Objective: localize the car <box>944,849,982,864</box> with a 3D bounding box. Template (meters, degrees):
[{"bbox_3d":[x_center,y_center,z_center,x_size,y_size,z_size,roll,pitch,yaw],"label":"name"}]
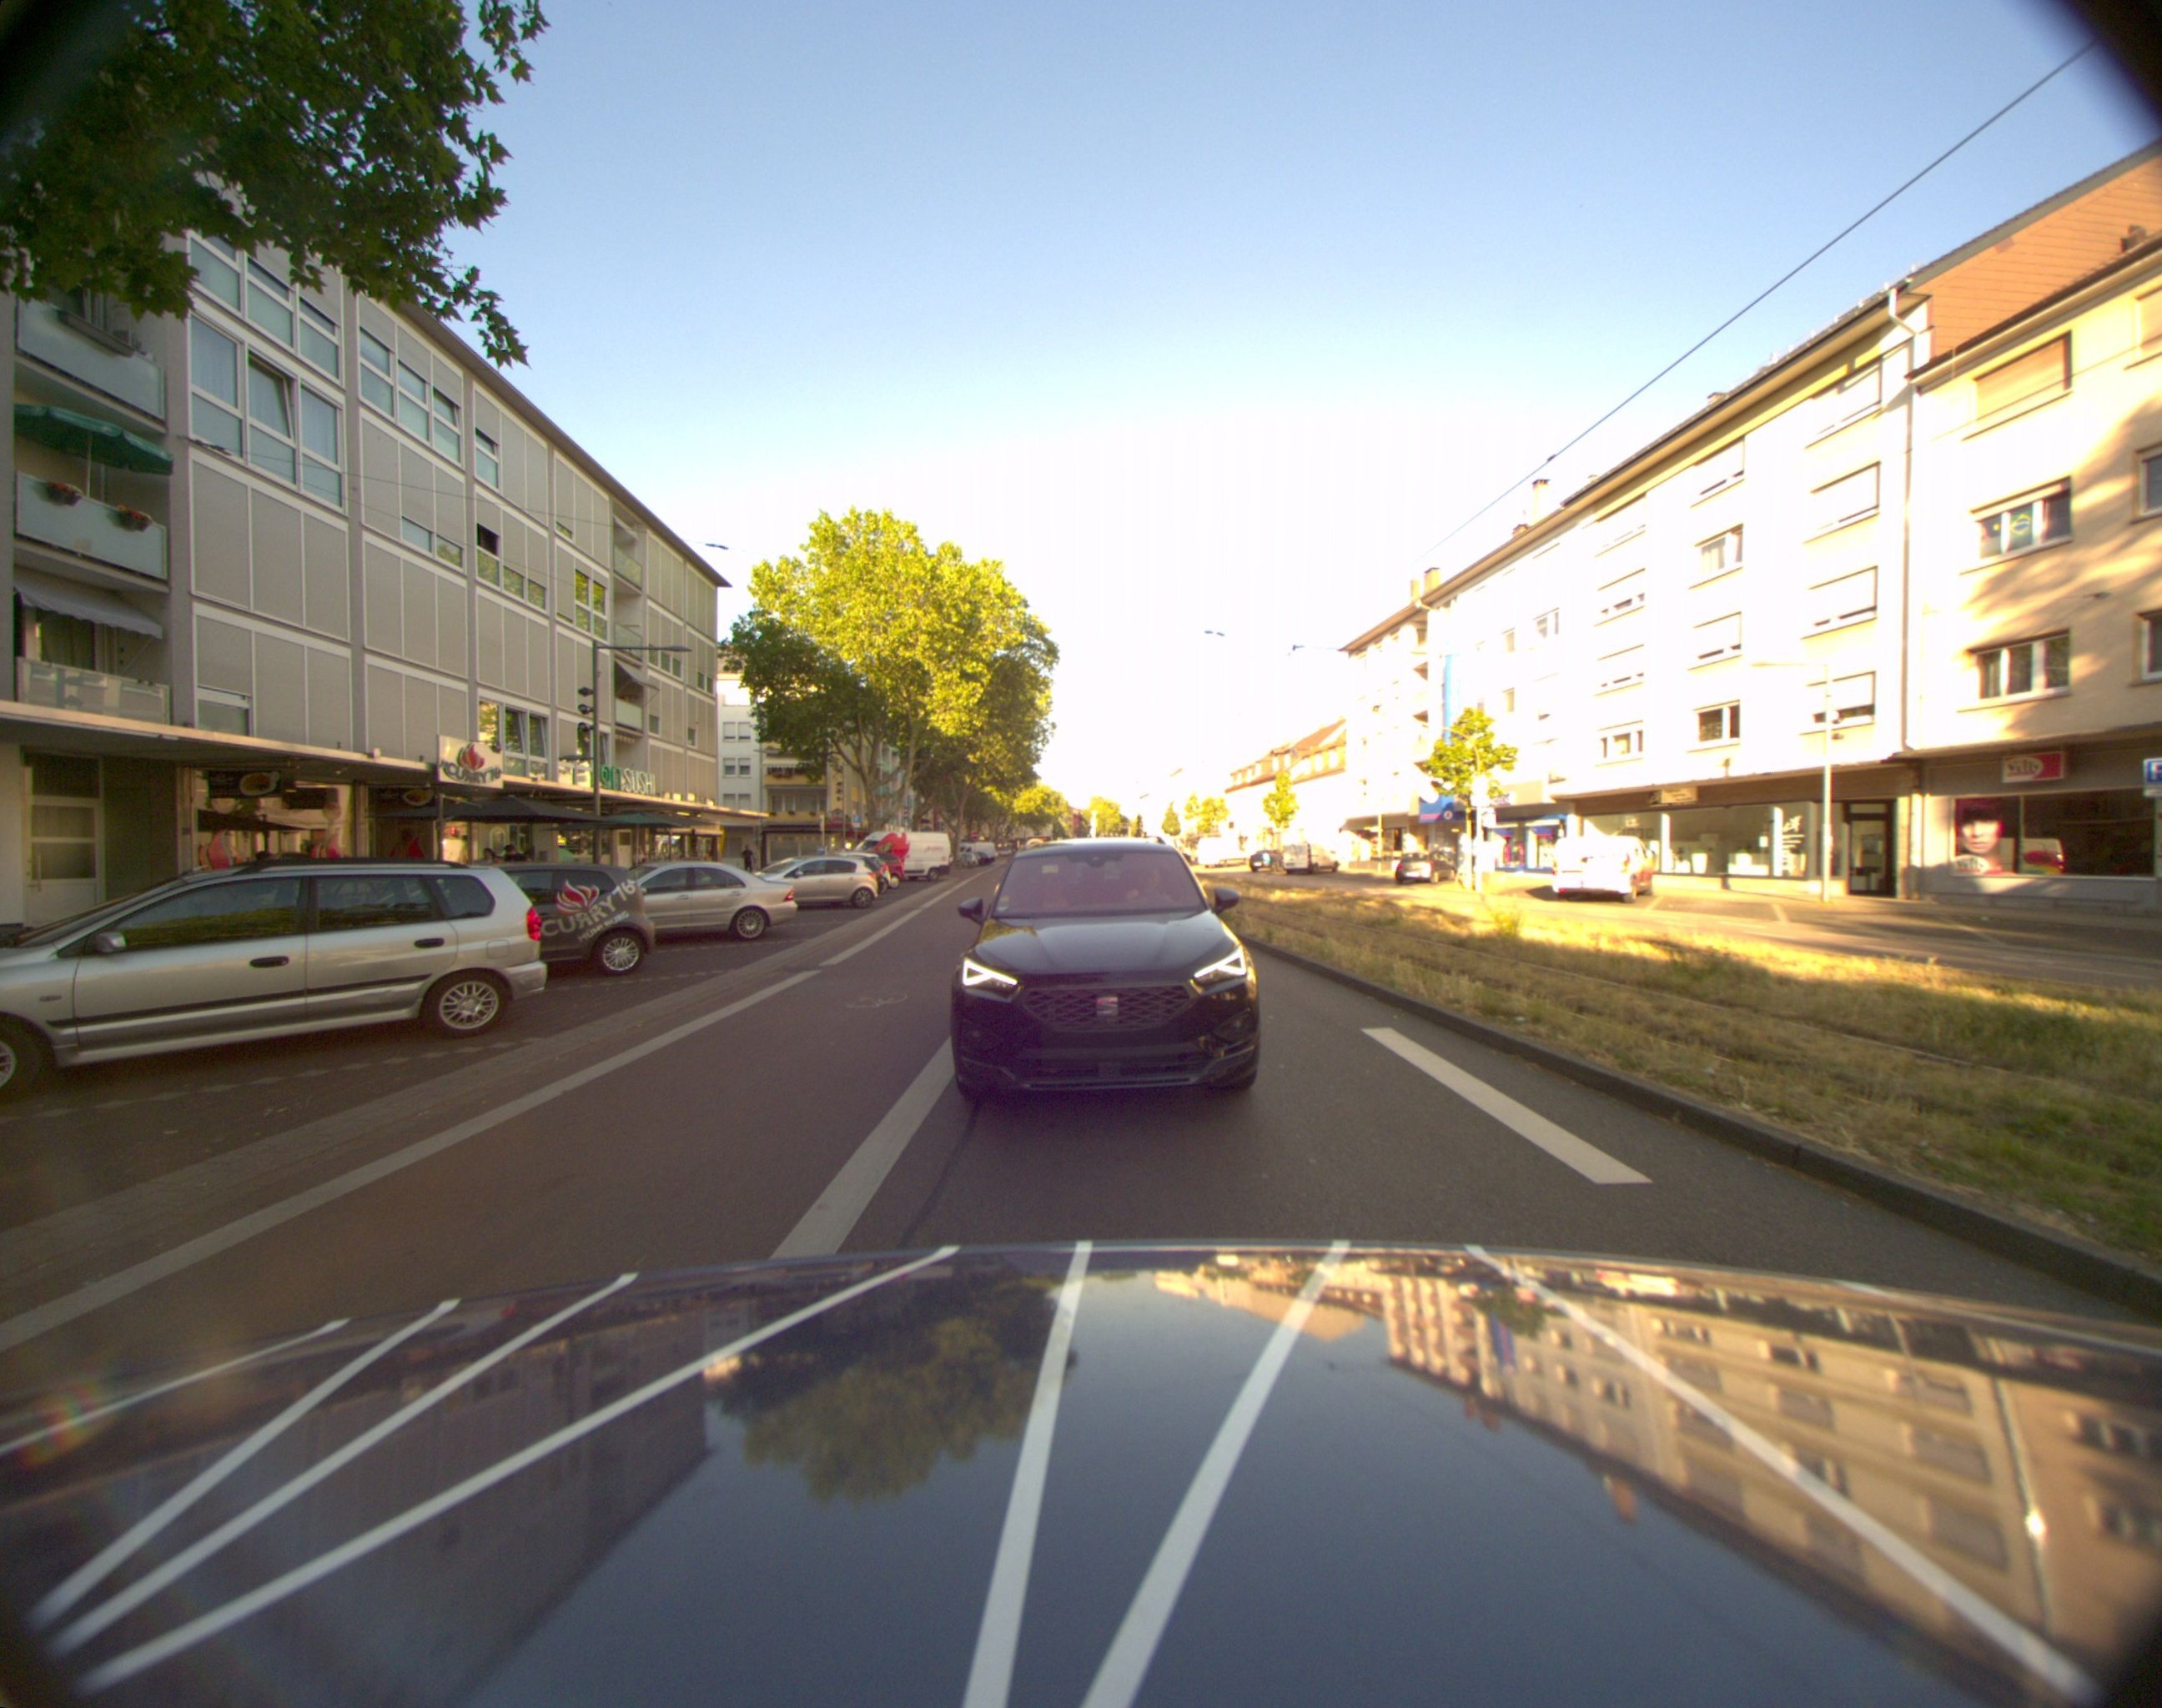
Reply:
[{"bbox_3d":[-11.483,0.252,74.018,3.337,1.339,1.526,0,2,-44],"label":"car"}]

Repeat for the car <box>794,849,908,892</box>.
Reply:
[{"bbox_3d":[-9.095,0.614,30.207,4.008,1.555,1.654,0,2,-44],"label":"car"}]

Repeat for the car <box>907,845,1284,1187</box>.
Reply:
[{"bbox_3d":[0.101,0.789,5.767,1.808,1.638,3.999,-2,1,1],"label":"car"}]

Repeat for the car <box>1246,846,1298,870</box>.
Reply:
[{"bbox_3d":[13.750,0.281,54.651,1.874,1.577,4.008,-1,1,43],"label":"car"}]

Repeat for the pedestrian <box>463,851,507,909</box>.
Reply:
[{"bbox_3d":[-14.672,0.633,18.728,0.538,1.392,0.686,2,1,-5],"label":"pedestrian"}]

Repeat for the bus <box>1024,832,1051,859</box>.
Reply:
[{"bbox_3d":[-5.331,-1.146,91.446,2.873,2.962,12.231,-2,2,-4],"label":"bus"}]

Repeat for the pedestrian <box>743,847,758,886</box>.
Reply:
[{"bbox_3d":[-17.023,0.630,39.112,0.564,2.002,0.536,-3,1,-18],"label":"pedestrian"}]

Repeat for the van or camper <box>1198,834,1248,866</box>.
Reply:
[{"bbox_3d":[12.906,-0.412,68.556,1.994,2.652,6.410,-2,1,34],"label":"van or camper"}]

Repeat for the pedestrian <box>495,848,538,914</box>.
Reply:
[{"bbox_3d":[-14.031,0.652,18.897,0.538,1.582,0.686,2,1,-5],"label":"pedestrian"}]

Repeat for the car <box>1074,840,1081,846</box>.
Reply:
[{"bbox_3d":[-0.905,-2.957,198.508,1.740,1.539,3.999,0,1,0],"label":"car"}]

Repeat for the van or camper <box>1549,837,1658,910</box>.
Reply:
[{"bbox_3d":[15.835,0.500,22.895,1.946,1.887,4.824,-1,1,43],"label":"van or camper"}]

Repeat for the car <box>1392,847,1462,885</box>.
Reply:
[{"bbox_3d":[15.627,0.507,34.225,1.765,1.482,4.460,-1,1,39],"label":"car"}]

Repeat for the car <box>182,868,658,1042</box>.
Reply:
[{"bbox_3d":[-7.569,0.962,9.072,1.804,1.498,4.008,1,1,38],"label":"car"}]

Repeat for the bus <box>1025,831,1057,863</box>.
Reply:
[{"bbox_3d":[-4.296,-0.833,79.245,2.873,2.962,12.231,-2,2,-4],"label":"bus"}]

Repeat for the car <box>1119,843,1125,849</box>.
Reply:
[{"bbox_3d":[12.547,-2.402,234.298,1.869,1.832,3.826,0,1,2],"label":"car"}]

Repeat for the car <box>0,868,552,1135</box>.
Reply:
[{"bbox_3d":[-6.907,0.961,6.090,1.804,1.597,4.008,1,1,38],"label":"car"}]

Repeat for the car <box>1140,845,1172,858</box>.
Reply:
[{"bbox_3d":[10.156,-0.335,103.187,3.921,1.482,1.766,-3,1,-27],"label":"car"}]

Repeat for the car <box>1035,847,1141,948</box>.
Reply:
[{"bbox_3d":[0.067,0.674,13.949,1.659,1.572,3.999,0,1,-1],"label":"car"}]

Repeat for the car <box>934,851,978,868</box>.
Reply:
[{"bbox_3d":[-10.555,0.472,64.229,3.337,1.339,1.526,0,2,-44],"label":"car"}]

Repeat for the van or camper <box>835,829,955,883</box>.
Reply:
[{"bbox_3d":[-9.110,0.055,37.606,5.474,2.455,1.994,-1,1,-44],"label":"van or camper"}]

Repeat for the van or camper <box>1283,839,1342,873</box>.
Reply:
[{"bbox_3d":[14.586,0.105,47.790,1.795,1.978,4.460,-1,1,41],"label":"van or camper"}]

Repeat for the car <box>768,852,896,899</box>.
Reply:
[{"bbox_3d":[-8.790,0.698,27.012,4.008,1.514,1.654,0,2,-44],"label":"car"}]

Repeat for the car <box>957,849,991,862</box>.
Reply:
[{"bbox_3d":[-11.393,0.167,81.271,3.337,1.339,1.526,0,2,-44],"label":"car"}]

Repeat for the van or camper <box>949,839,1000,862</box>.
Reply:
[{"bbox_3d":[-11.831,-0.371,84.761,1.994,2.455,5.474,1,1,44],"label":"van or camper"}]

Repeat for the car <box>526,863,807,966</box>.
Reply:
[{"bbox_3d":[-7.122,0.934,13.361,1.654,1.428,4.008,2,2,43],"label":"car"}]

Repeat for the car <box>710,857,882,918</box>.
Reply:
[{"bbox_3d":[-7.609,0.829,20.505,4.008,1.428,1.654,0,2,-44],"label":"car"}]

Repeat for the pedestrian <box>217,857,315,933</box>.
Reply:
[{"bbox_3d":[-15.155,0.744,14.153,0.750,1.354,0.962,0,1,0],"label":"pedestrian"}]

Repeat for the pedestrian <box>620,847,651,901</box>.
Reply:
[{"bbox_3d":[-13.437,0.585,22.915,0.538,1.582,0.686,2,1,-5],"label":"pedestrian"}]
